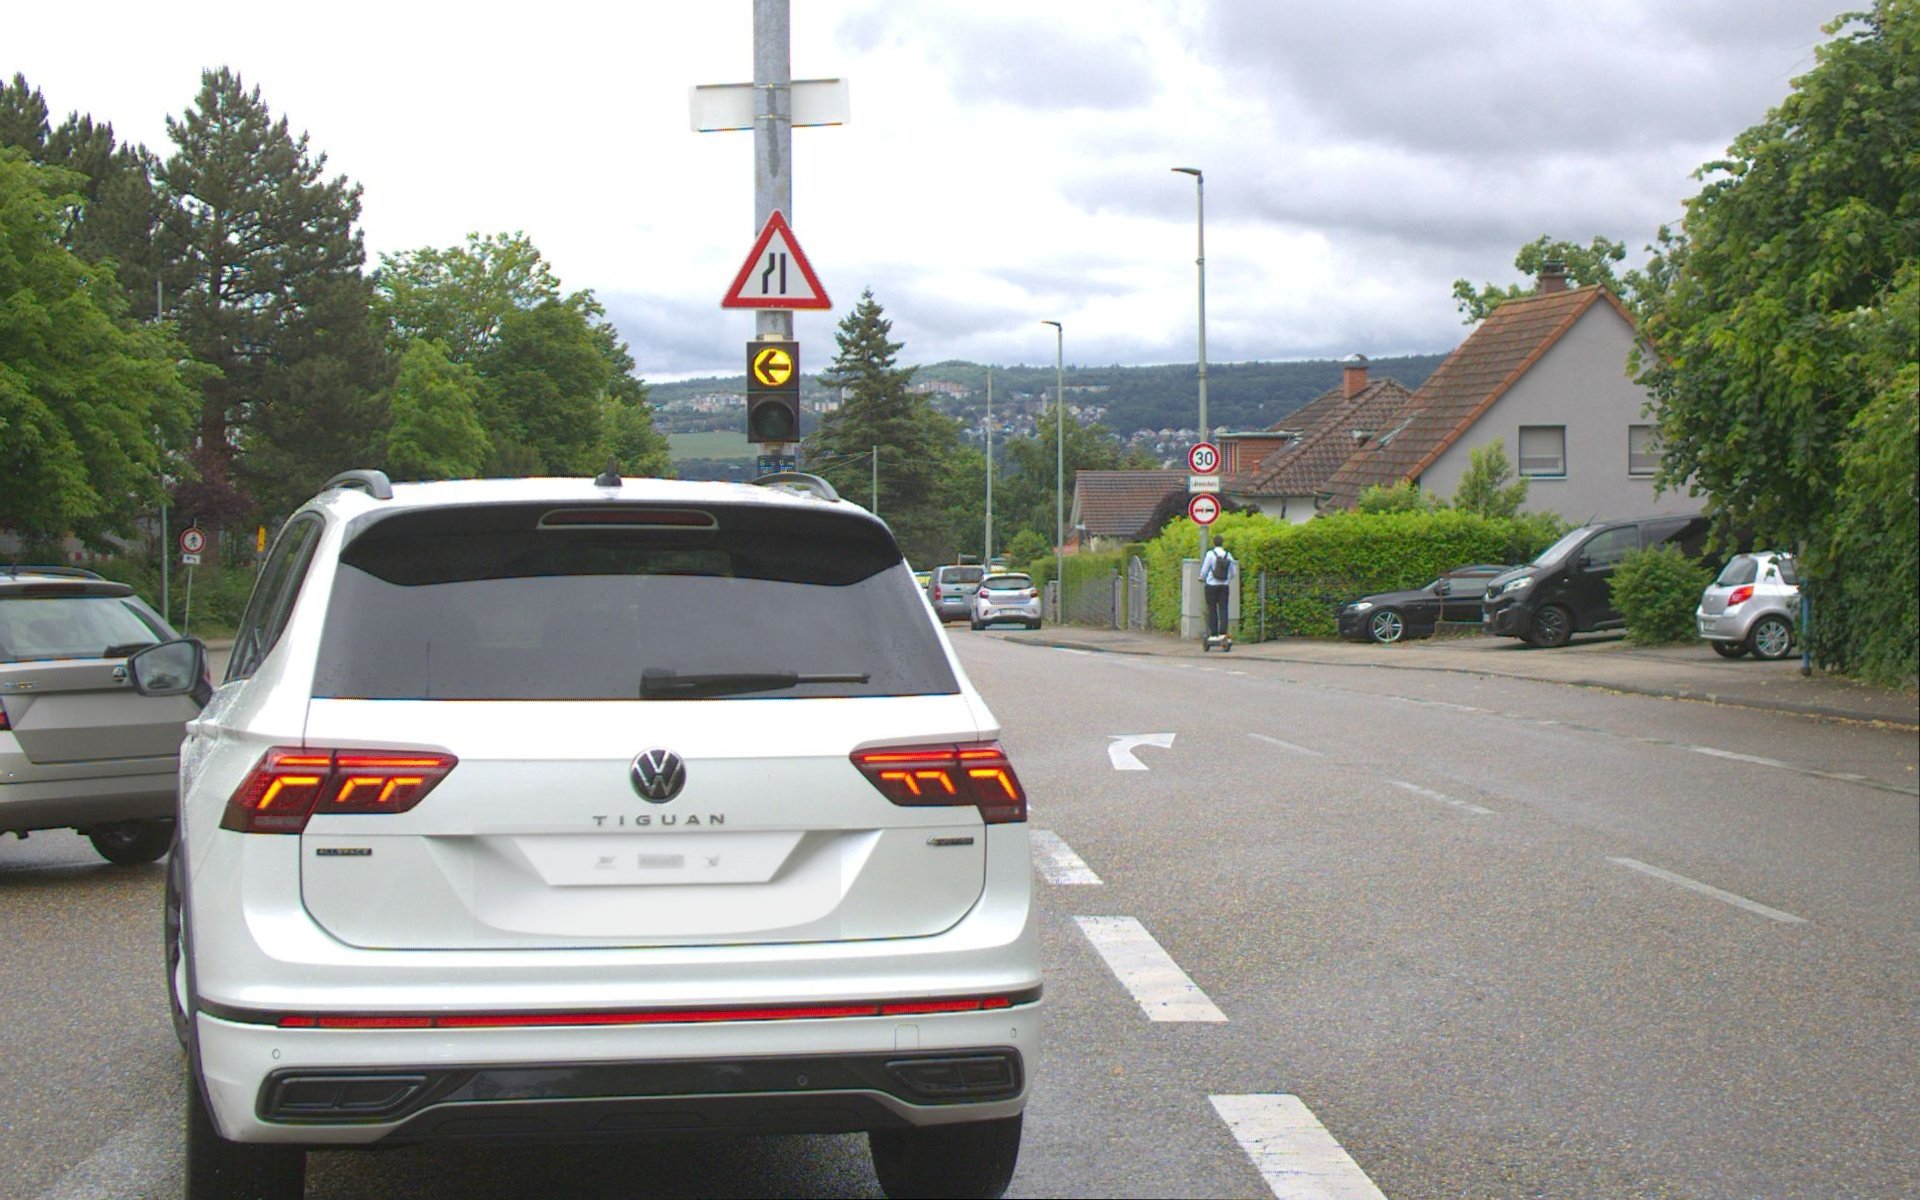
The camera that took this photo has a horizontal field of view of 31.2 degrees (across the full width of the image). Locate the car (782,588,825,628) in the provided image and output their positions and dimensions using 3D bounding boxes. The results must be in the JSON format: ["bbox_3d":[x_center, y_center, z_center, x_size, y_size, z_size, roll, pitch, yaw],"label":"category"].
[{"bbox_3d":[-7.442,0.376,163.547,1.887,1.787,4.000,0,1,-1],"label":"car"}]

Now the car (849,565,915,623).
[{"bbox_3d":[-2.046,-0.169,91.137,1.664,1.422,4.305,1,1,0],"label":"car"}]

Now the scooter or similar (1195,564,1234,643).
[{"bbox_3d":[4.416,0.053,59.654,0.461,1.356,1.385,0,1,-4],"label":"scooter or similar"}]

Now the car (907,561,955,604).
[{"bbox_3d":[-1.134,-0.694,134.378,1.850,1.569,4.000,-1,1,-1],"label":"car"}]

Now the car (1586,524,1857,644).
[{"bbox_3d":[11.407,-0.251,51.604,3.627,1.740,1.708,0,1,-4],"label":"car"}]

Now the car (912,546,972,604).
[{"bbox_3d":[-0.584,-0.812,109.552,1.850,1.568,4.001,1,3,-1],"label":"car"}]

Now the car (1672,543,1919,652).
[{"bbox_3d":[11.652,-0.034,46.141,3.713,1.390,1.729,-1,0,-8],"label":"car"}]

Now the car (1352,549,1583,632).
[{"bbox_3d":[8.653,-0.158,58.759,3.687,1.365,1.519,0,-1,-2],"label":"car"}]

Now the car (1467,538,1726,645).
[{"bbox_3d":[9.956,-0.140,53.921,3.626,1.620,1.791,0,1,-5],"label":"car"}]

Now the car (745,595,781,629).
[{"bbox_3d":[-10.922,0.681,190.955,1.887,1.787,4.000,0,1,-2],"label":"car"}]

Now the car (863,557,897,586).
[{"bbox_3d":[-4.437,-1.593,191.645,1.850,1.569,4.000,-1,1,-1],"label":"car"}]

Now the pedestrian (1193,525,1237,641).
[{"bbox_3d":[4.414,-0.296,59.643,0.655,1.995,0.718,0,1,-4],"label":"pedestrian"}]

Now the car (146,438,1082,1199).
[{"bbox_3d":[-1.124,0.512,8.618,1.762,1.690,4.274,0,1,-14],"label":"car"}]

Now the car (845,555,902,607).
[{"bbox_3d":[-2.757,-0.626,110.308,1.738,1.569,4.000,-1,1,-1],"label":"car"}]

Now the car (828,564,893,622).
[{"bbox_3d":[-2.823,-0.222,98.051,1.754,1.569,4.000,-1,1,-1],"label":"car"}]

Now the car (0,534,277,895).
[{"bbox_3d":[-5.326,0.489,16.930,3.922,1.584,1.800,0,1,41],"label":"car"}]

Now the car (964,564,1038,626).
[{"bbox_3d":[1.071,-0.149,91.039,1.850,1.569,4.000,1,1,-1],"label":"car"}]
